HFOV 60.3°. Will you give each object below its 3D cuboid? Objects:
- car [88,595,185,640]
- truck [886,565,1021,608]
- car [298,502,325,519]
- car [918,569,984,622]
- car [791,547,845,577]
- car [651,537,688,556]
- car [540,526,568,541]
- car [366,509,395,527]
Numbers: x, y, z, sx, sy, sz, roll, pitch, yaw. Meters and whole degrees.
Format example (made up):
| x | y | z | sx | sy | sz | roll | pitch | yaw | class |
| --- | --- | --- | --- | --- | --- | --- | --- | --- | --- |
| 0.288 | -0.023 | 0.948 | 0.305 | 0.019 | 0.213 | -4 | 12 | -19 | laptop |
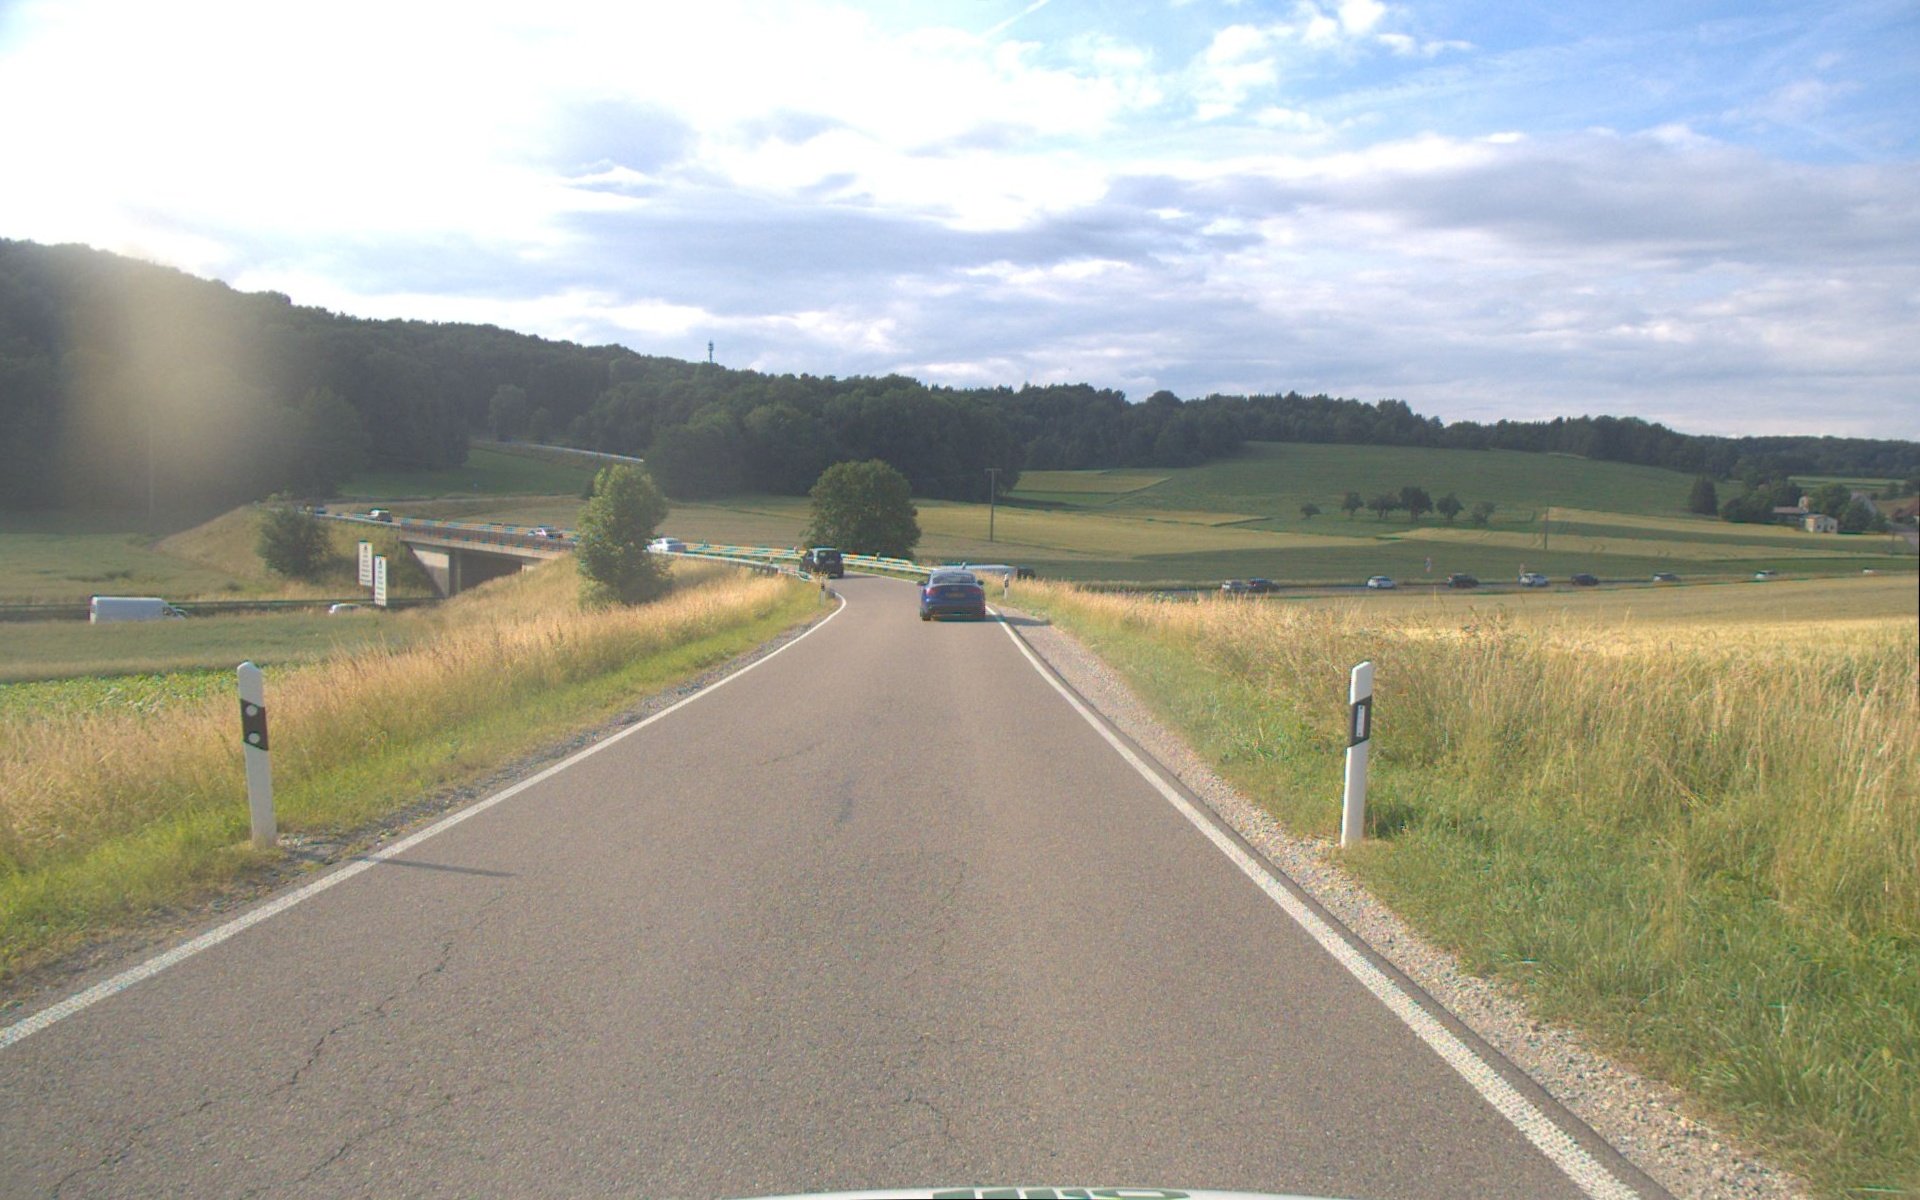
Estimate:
| x | y | z | sx | sy | sz | roll | pitch | yaw | class |
| --- | --- | --- | --- | --- | --- | --- | --- | --- | --- |
| -60.686 | 1.236 | 121.953 | 6.070 | 2.626 | 2.341 | -4 | 10 | -41 | car |
| -0.527 | -1.423 | 168.766 | 14.277 | 4.066 | 4.024 | -2 | 1 | -38 | truck |
| -77.237 | -10.678 | 196.922 | 1.978 | 1.801 | 3.952 | -5 | 7 | -35 | car |
| -0.268 | -0.161 | 47.511 | 1.781 | 1.362 | 4.350 | -1 | 2 | -1 | car |
| -7.971 | -2.146 | 92.710 | 1.837 | 1.596 | 3.972 | -1 | 2 | -23 | car |
| -21.539 | -3.956 | 122.439 | 1.662 | 1.400 | 3.966 | -1 | 2 | -26 | car |
| -34.505 | -5.645 | 140.528 | 1.457 | 1.248 | 3.263 | -1 | 2 | -32 | car |
| -61.064 | -8.610 | 174.260 | 1.973 | 1.708 | 4.136 | 2 | 2 | -31 | car |
